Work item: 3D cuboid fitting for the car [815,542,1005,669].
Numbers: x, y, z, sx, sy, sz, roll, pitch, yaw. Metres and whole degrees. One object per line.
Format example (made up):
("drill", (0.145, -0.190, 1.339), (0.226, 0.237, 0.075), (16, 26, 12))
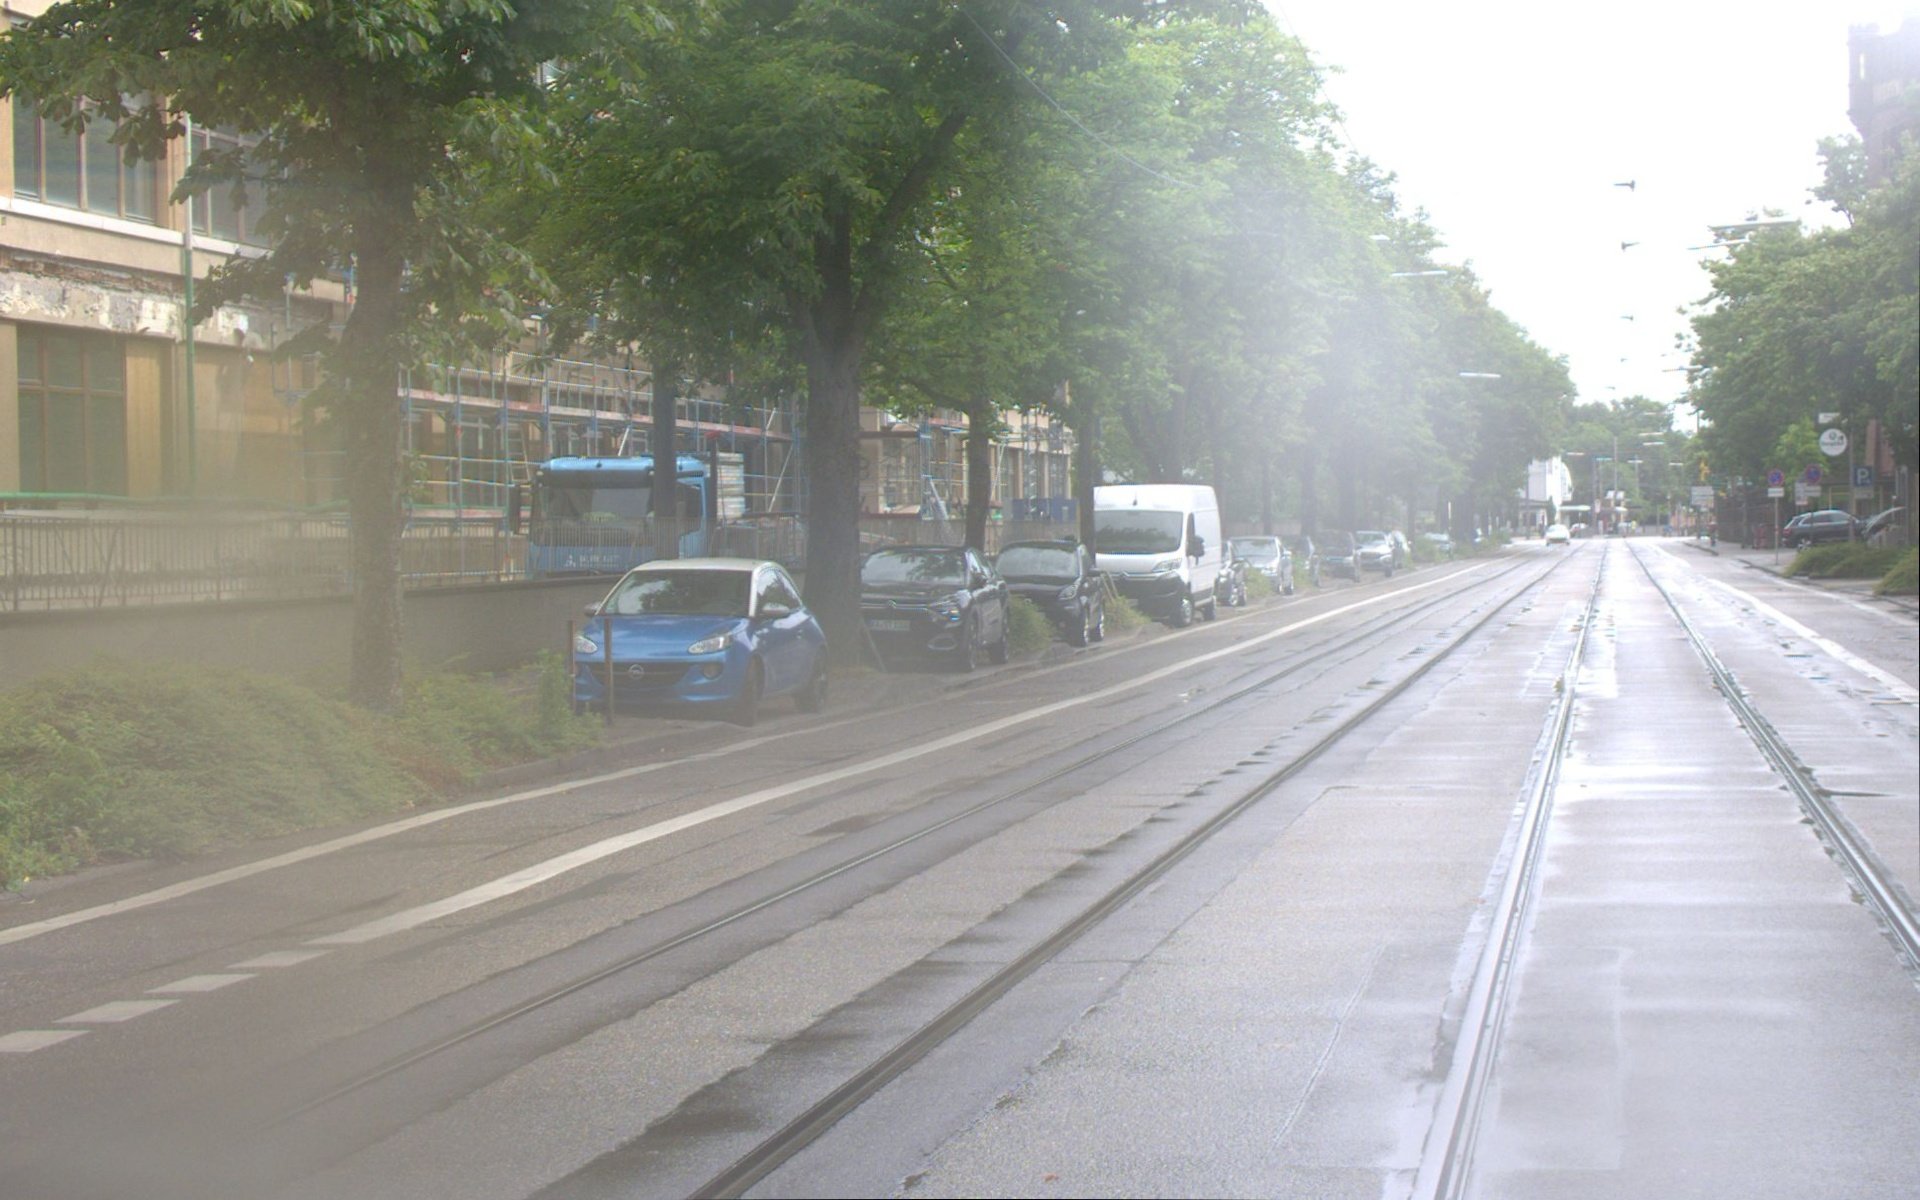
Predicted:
("car", (-0.559, 0.045, 42.359), (1.884, 1.465, 3.999), (1, 1, 6))

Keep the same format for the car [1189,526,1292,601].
("car", (6.730, -0.862, 82.033), (1.859, 1.736, 3.998), (1, 1, 13))

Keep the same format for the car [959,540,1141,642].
("car", (1.411, -0.176, 52.319), (1.813, 1.465, 4.069), (1, 1, 16))

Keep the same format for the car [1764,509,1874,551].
("car", (35.018, -2.836, 140.113), (4.287, 1.646, 1.998), (1, 1, 16))

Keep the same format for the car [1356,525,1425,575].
("car", (14.516, -1.688, 115.831), (1.859, 1.632, 3.998), (1, 1, 13))

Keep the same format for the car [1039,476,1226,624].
("car", (3.138, -0.868, 60.887), (2.589, 2.465, 6.150), (1, 0, 9))

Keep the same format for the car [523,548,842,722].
("car", (-2.473, 0.285, 31.690), (1.885, 1.465, 3.998), (1, 1, 11))

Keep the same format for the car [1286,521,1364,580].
("car", (11.050, -1.489, 103.848), (1.859, 1.736, 3.998), (1, 1, 13))

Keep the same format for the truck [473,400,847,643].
("truck", (-4.576, -1.197, 55.238), (3.234, 3.515, 9.905), (1, 1, 12))
